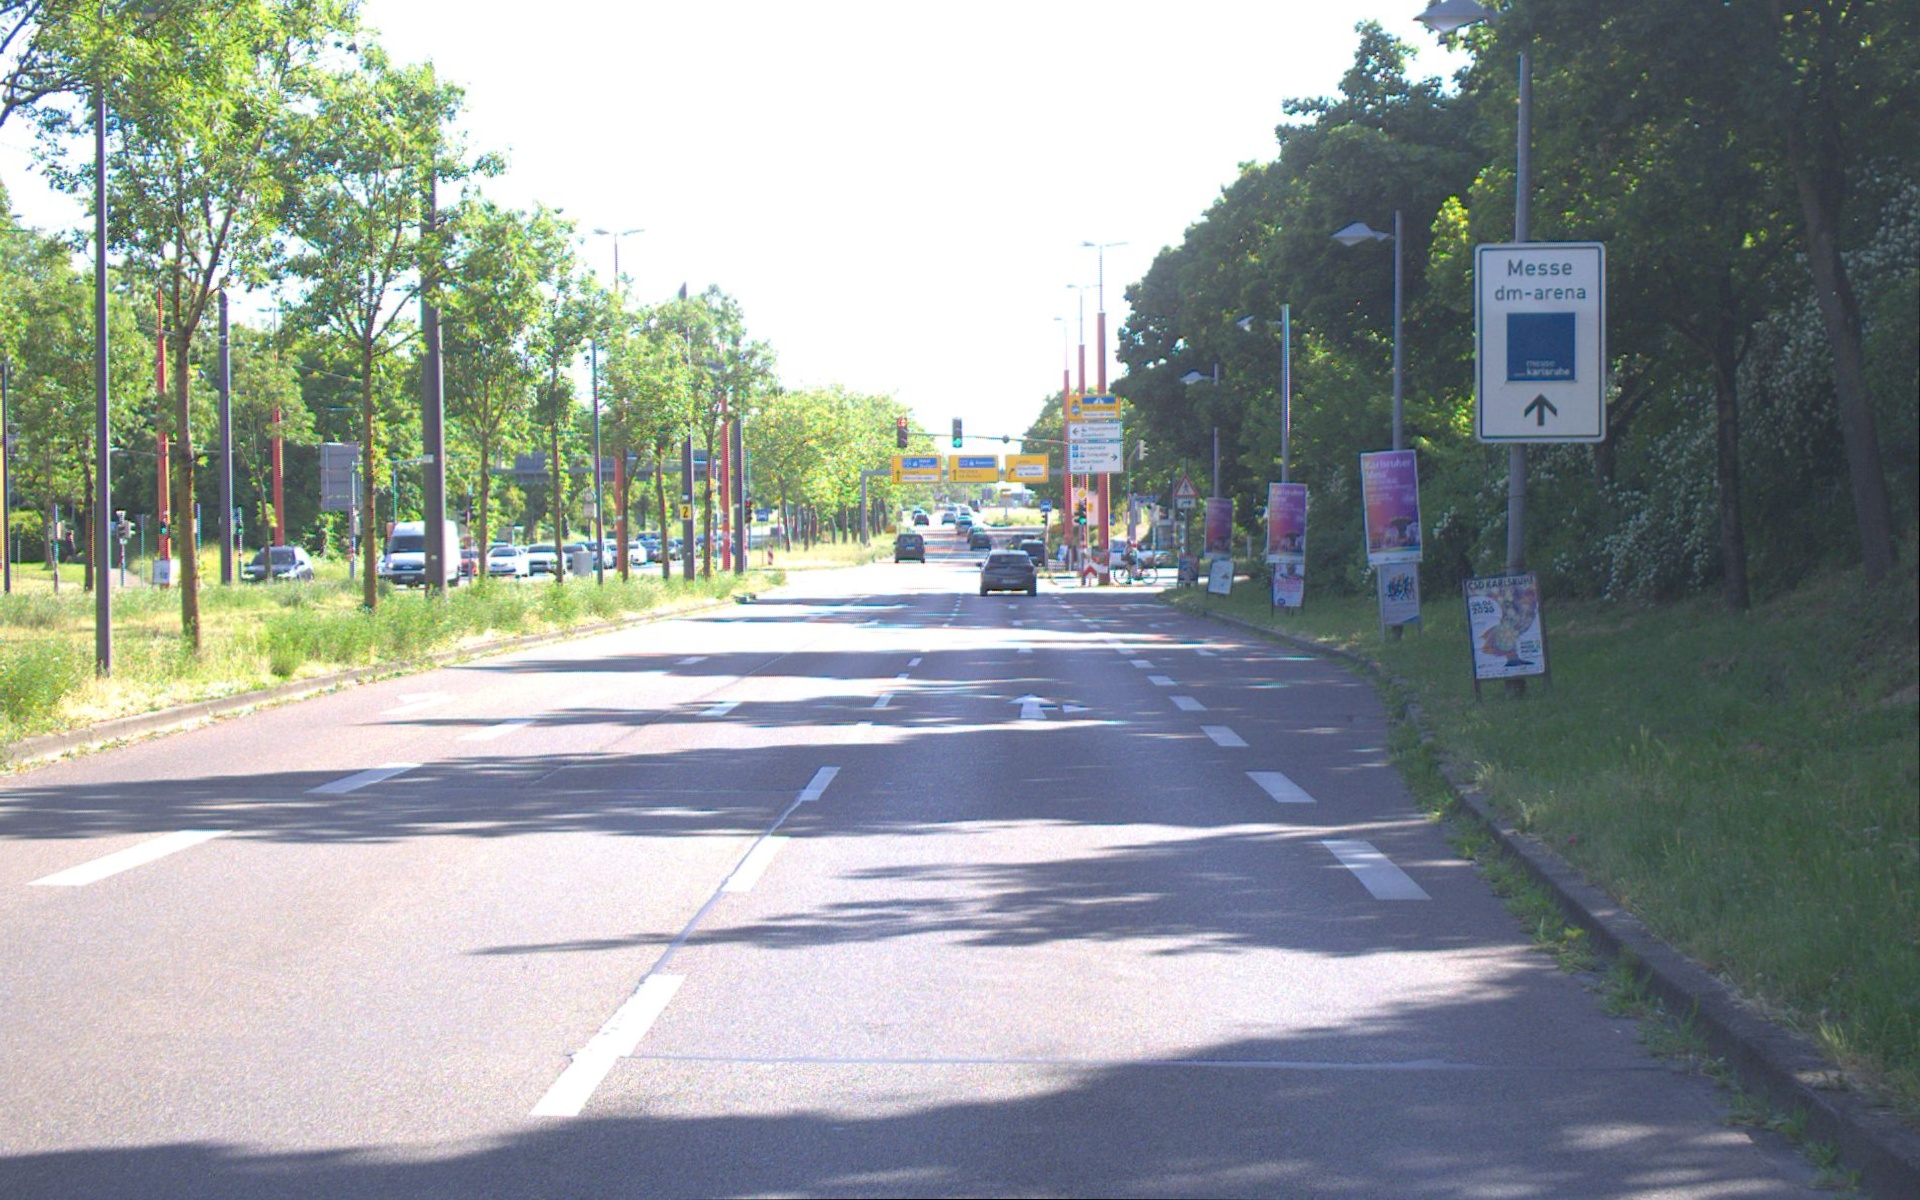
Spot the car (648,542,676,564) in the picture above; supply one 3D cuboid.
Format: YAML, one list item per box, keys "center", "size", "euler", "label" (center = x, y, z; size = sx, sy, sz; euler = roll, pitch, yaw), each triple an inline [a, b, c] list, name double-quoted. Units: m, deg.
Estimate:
- center: [-20.128, -3.191, 232.525]
  size: [1.631, 1.440, 4.192]
  euler: [0, 1, -1]
  label: "car"

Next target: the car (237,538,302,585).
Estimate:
- center: [-24.898, -1.393, 124.061]
  size: [1.631, 1.675, 4.192]
  euler: [0, 1, -1]
  label: "car"

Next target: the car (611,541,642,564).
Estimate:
- center: [-20.391, -2.912, 210.348]
  size: [1.631, 1.440, 4.192]
  euler: [0, 1, -1]
  label: "car"

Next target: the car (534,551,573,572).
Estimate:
- center: [-21.290, -2.031, 180.016]
  size: [1.631, 1.107, 4.192]
  euler: [0, 1, -1]
  label: "car"

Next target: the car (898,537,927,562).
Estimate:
- center: [-2.836, -3.009, 206.013]
  size: [1.634, 1.493, 4.234]
  euler: [0, 1, 1]
  label: "car"

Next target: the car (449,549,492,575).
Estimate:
- center: [-24.056, -1.871, 168.996]
  size: [1.631, 1.284, 4.099]
  euler: [0, 1, -1]
  label: "car"

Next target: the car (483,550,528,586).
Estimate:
- center: [-21.276, -1.498, 161.087]
  size: [1.631, 1.675, 4.192]
  euler: [0, 1, -1]
  label: "car"

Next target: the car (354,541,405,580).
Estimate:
- center: [-25.419, -1.726, 150.666]
  size: [1.631, 1.675, 4.192]
  euler: [0, 1, -1]
  label: "car"

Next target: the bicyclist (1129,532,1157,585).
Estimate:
- center: [6.955, -1.574, 130.827]
  size: [1.009, 2.000, 0.812]
  euler: [0, 1, 0]
  label: "bicyclist"

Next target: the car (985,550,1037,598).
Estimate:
- center: [1.634, -0.840, 110.366]
  size: [1.634, 1.493, 4.234]
  euler: [0, 1, 1]
  label: "car"

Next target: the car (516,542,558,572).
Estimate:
- center: [-21.002, -2.138, 170.841]
  size: [1.631, 1.440, 4.192]
  euler: [0, 1, -1]
  label: "car"

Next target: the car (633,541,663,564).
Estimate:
- center: [-19.903, -3.012, 219.093]
  size: [1.631, 1.440, 4.192]
  euler: [0, 1, -1]
  label: "car"

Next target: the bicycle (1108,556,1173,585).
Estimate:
- center: [6.868, -1.131, 130.834]
  size: [2.414, 1.105, 0.812]
  euler: [0, 1, 0]
  label: "bicycle"

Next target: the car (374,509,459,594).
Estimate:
- center: [-21.183, -1.859, 134.262]
  size: [2.465, 3.228, 6.135]
  euler: [0, 0, -2]
  label: "car"
